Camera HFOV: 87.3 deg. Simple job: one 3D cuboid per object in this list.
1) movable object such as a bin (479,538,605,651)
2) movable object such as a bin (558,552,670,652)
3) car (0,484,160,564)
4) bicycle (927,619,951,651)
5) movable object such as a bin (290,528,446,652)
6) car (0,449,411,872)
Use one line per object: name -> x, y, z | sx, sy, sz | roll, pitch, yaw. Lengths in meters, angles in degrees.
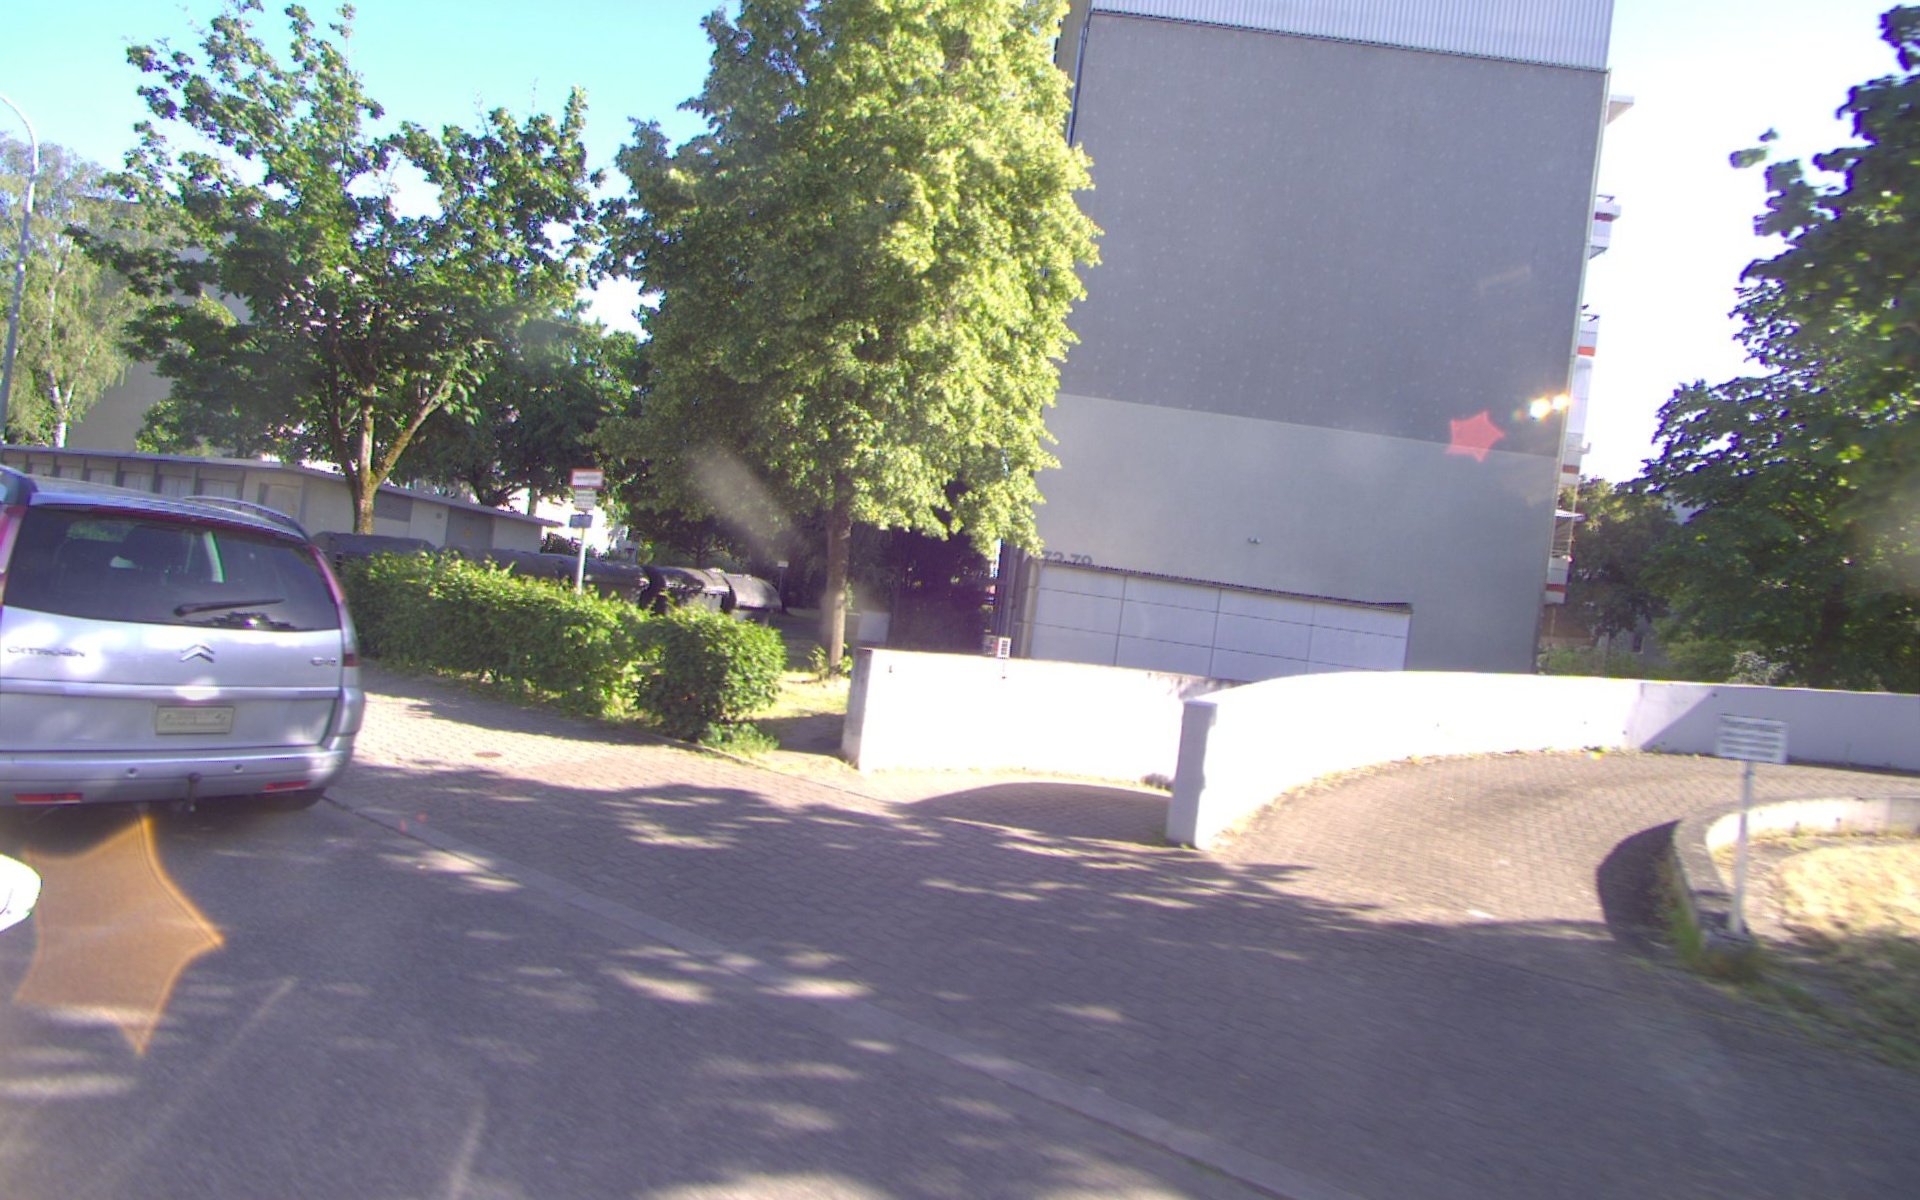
movable object such as a bin -> -6.510, -0.060, 15.718 | 1.011, 1.555, 1.328 | 7, -1, 27
movable object such as a bin -> -5.885, 0.054, 17.177 | 1.011, 1.498, 1.325 | 7, -1, 27
car -> -22.835, -1.980, 24.969 | 1.787, 1.512, 4.191 | 7, -1, 30
bicycle -> -0.633, 1.057, 31.129 | 0.537, 0.853, 2.417 | 8, 0, 1
movable object such as a bin -> -7.754, -0.113, 13.209 | 1.051, 1.447, 1.326 | 7, 2, 27
car -> -5.201, 0.083, 5.662 | 4.423, 1.646, 1.756 | 7, -1, 34
